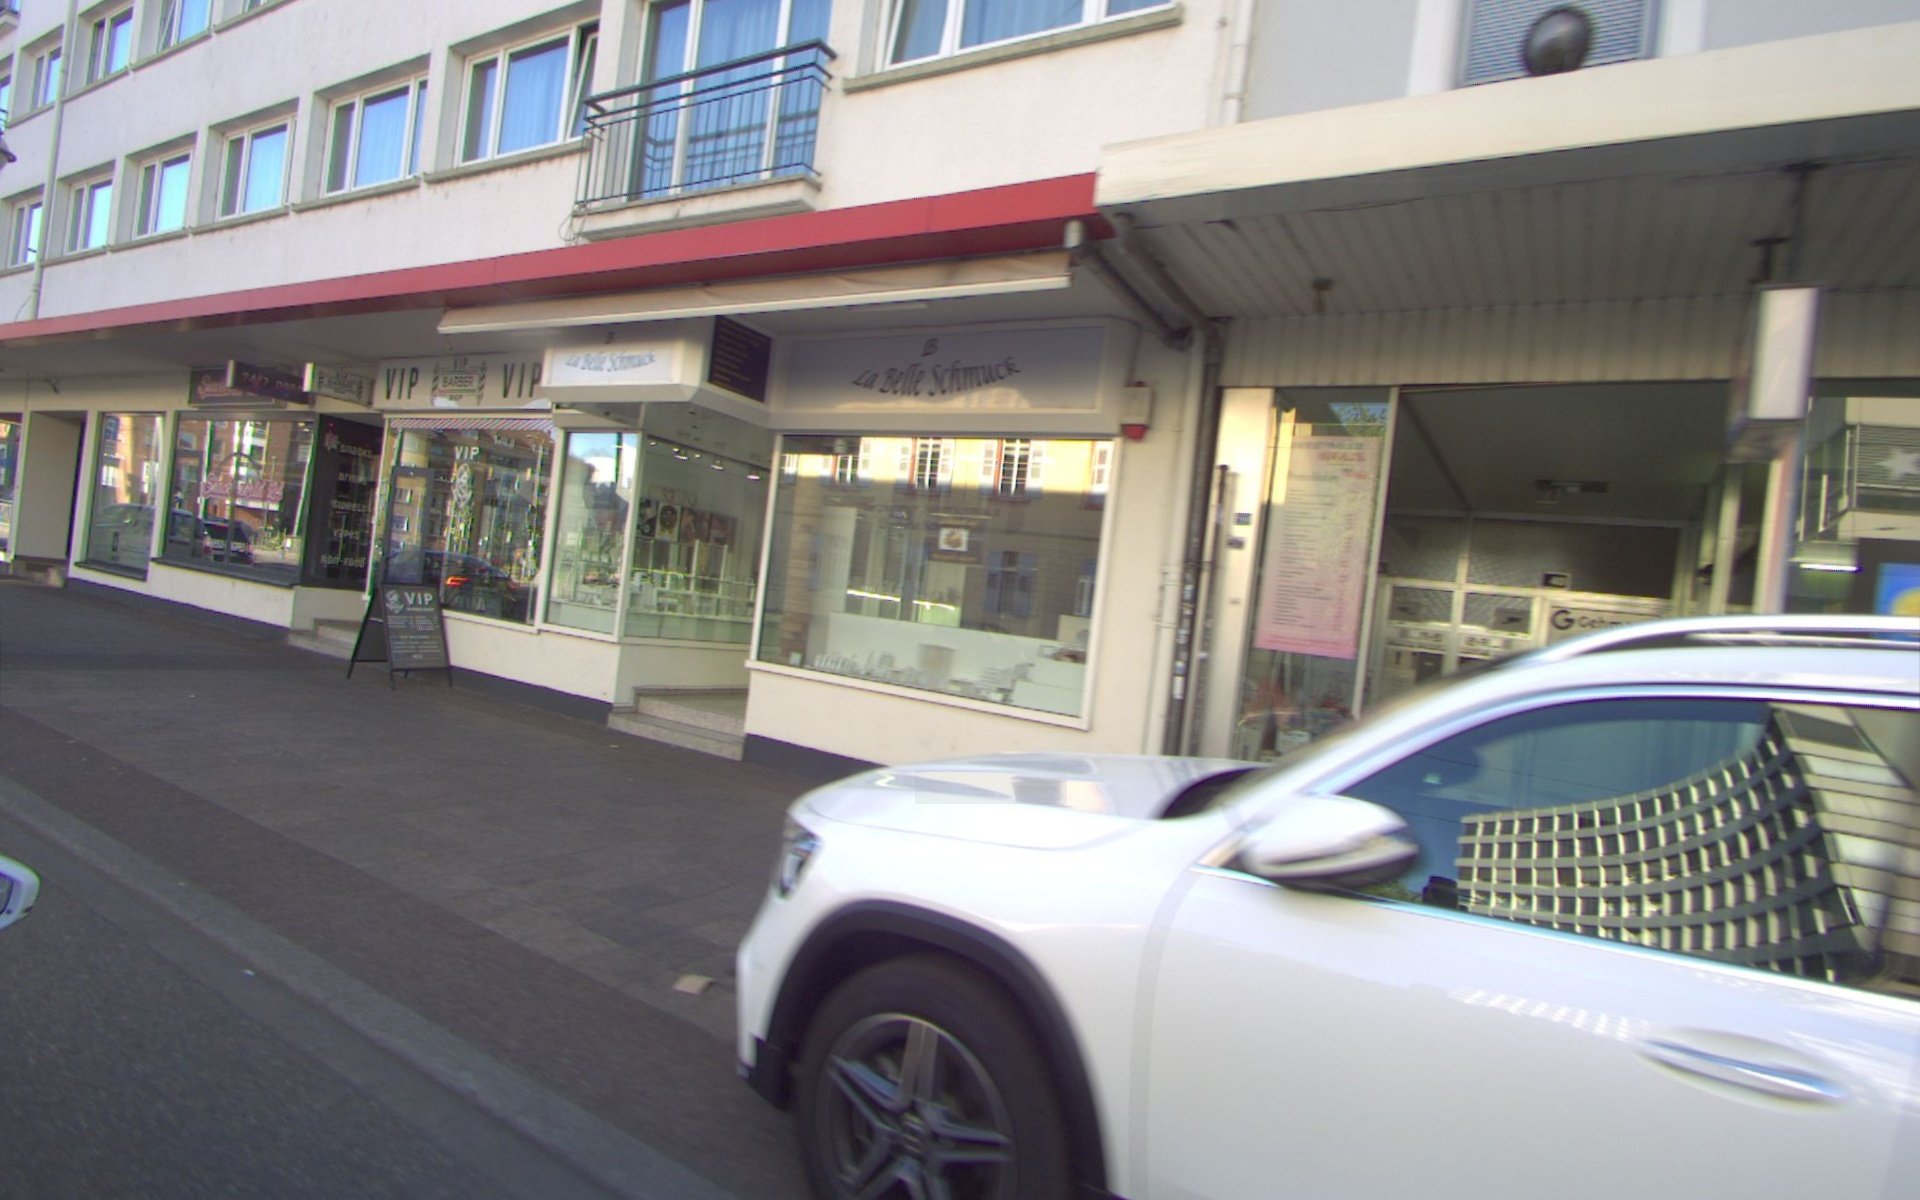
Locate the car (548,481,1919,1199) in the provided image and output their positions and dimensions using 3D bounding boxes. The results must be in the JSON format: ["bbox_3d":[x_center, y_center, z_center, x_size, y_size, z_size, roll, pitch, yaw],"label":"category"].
[{"bbox_3d":[1.617,0.836,2.129,5.106,1.746,1.851,6,1,31],"label":"car"}]
